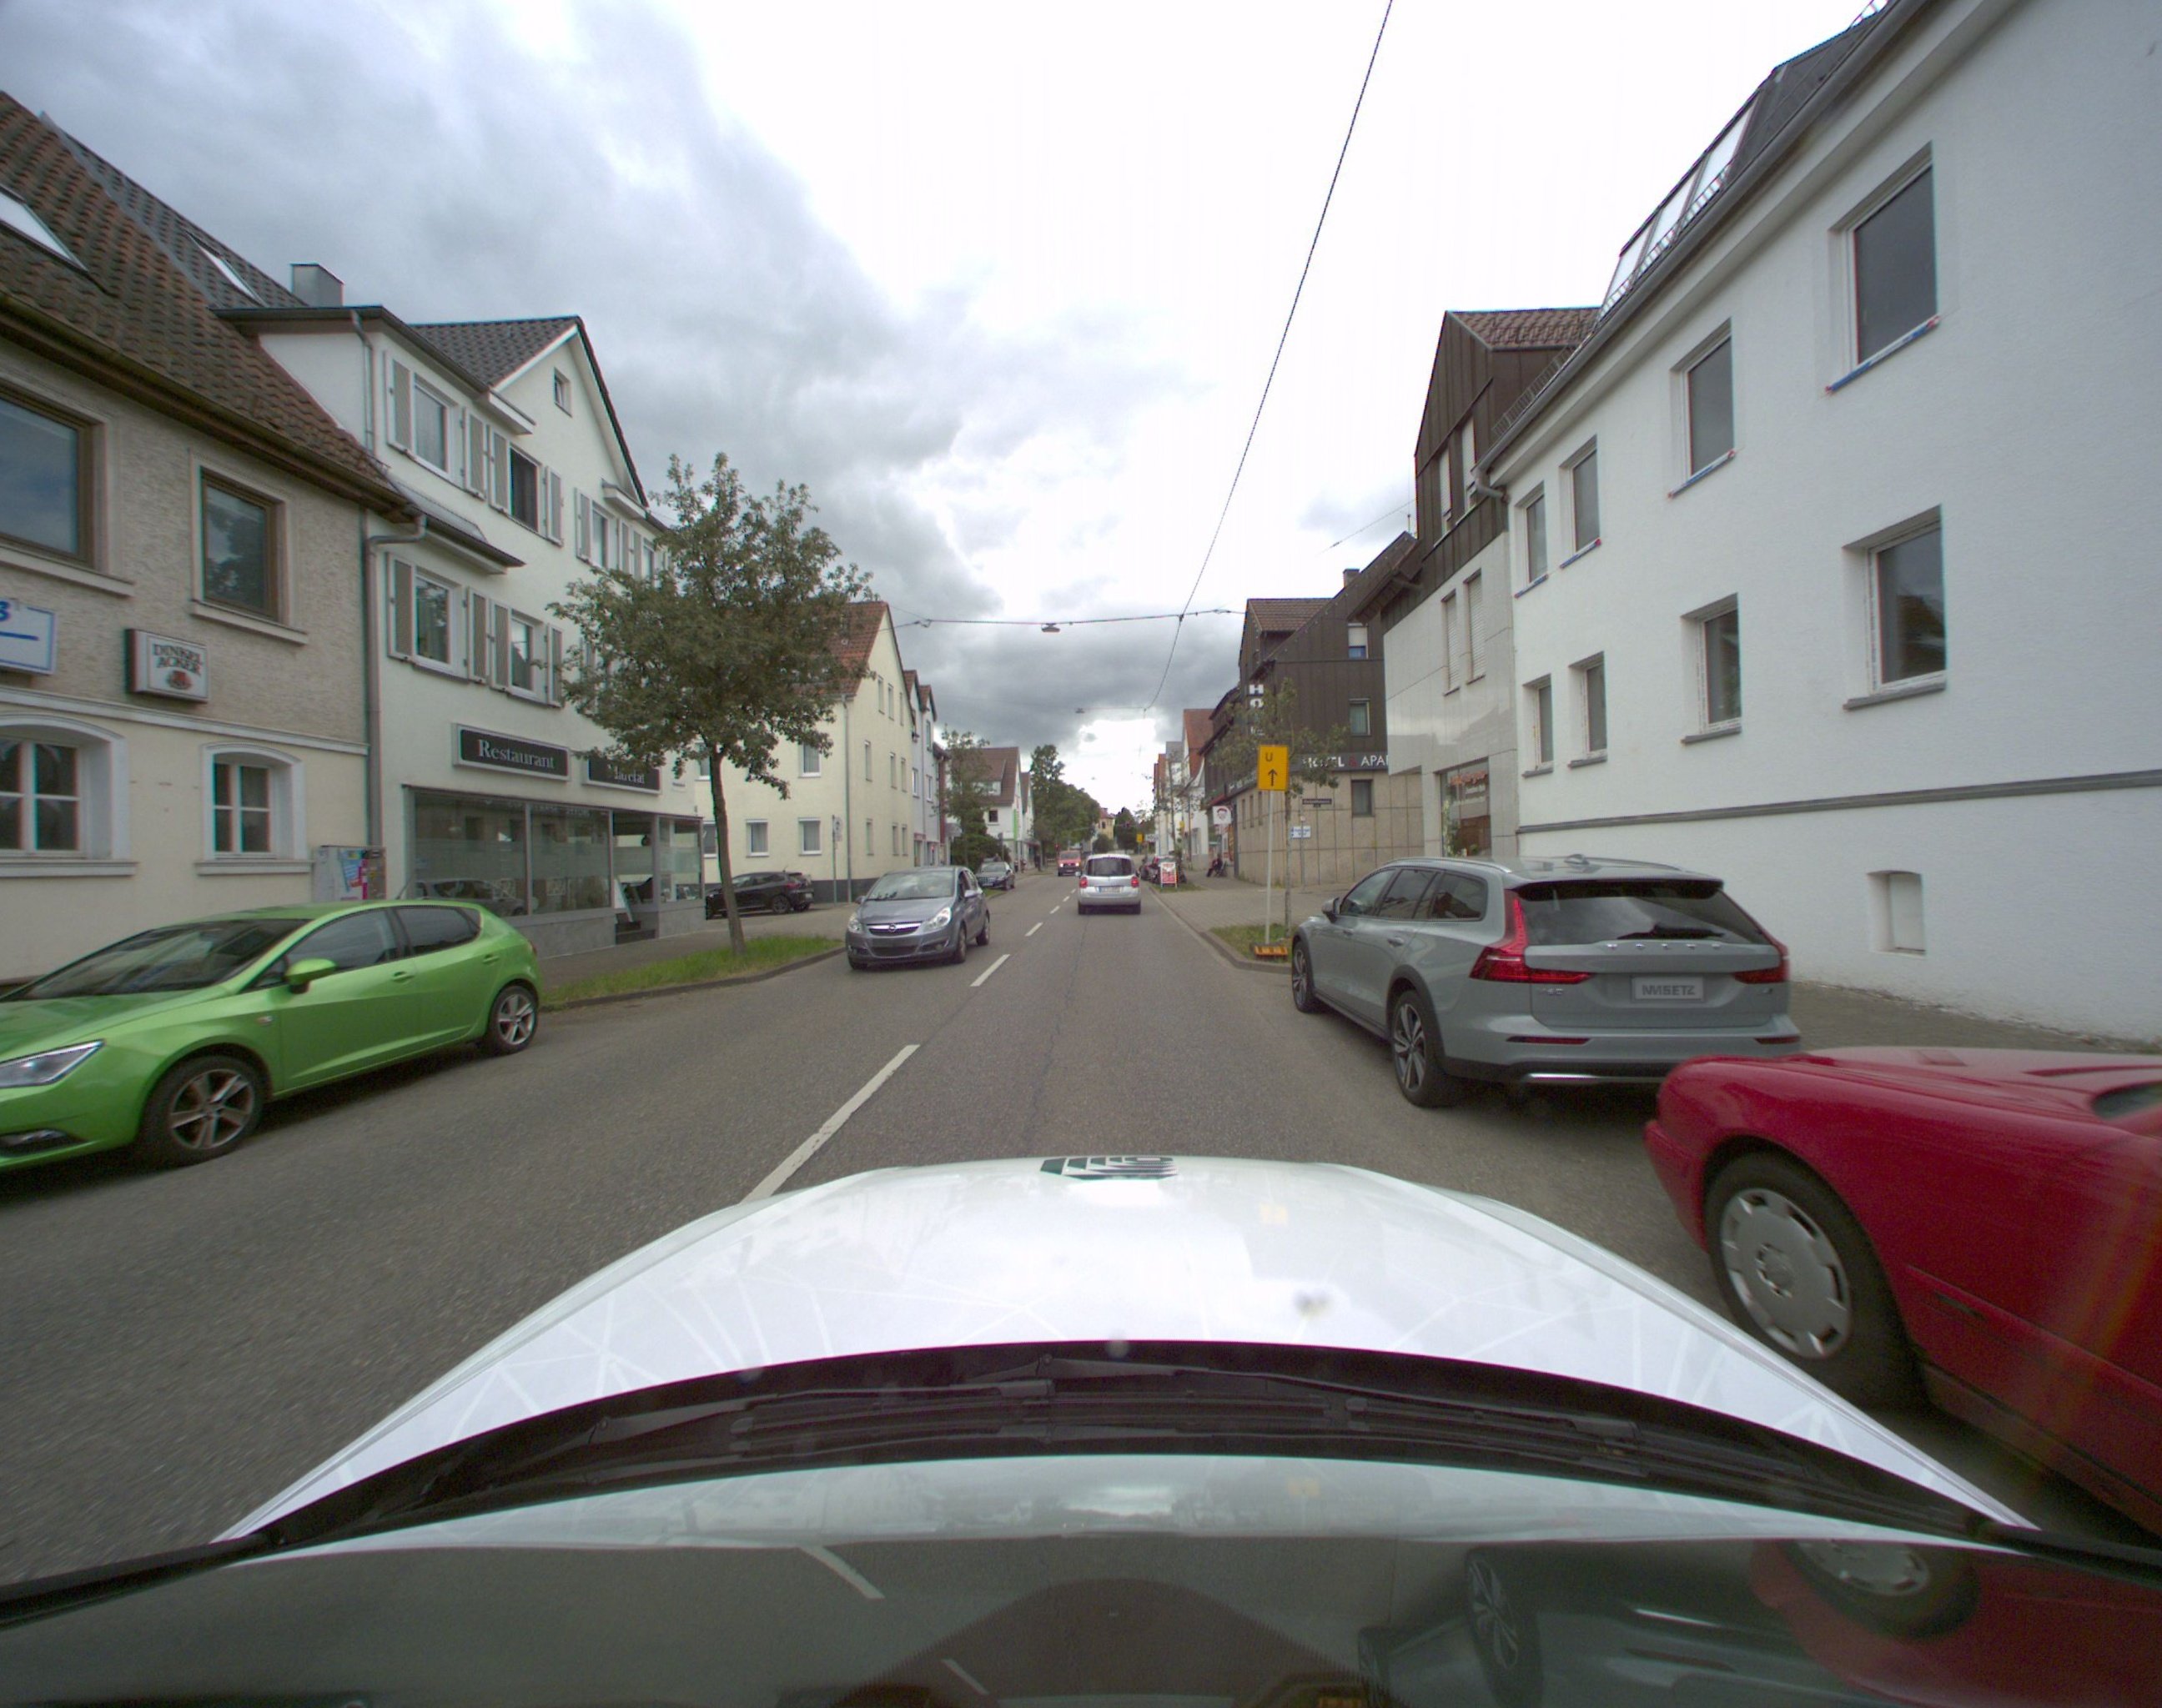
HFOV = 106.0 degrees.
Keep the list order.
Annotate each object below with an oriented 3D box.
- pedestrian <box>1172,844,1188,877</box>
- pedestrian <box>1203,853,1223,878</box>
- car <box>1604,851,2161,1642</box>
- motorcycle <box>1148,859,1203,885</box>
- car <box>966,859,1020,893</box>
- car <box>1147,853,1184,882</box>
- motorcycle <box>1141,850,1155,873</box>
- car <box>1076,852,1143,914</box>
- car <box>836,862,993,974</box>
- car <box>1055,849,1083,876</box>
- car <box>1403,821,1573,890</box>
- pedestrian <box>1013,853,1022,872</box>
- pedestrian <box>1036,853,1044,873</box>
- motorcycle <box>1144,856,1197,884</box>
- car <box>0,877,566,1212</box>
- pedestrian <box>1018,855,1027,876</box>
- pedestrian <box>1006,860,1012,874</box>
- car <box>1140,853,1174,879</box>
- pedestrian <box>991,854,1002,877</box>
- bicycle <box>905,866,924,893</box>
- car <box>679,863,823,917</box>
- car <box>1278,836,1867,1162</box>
[{"bbox_3d":[5.887,0.376,48.635,0.853,1.928,0.900,-1,-1,2],"label":"pedestrian"},{"bbox_3d":[7.362,0.628,45.307,0.884,1.300,0.967,-5,-1,2],"label":"pedestrian"},{"bbox_3d":[2.850,0.713,0.852,1.749,1.446,4.454,0,0,0],"label":"car"},{"bbox_3d":[4.586,0.842,39.430,2.744,1.183,0.693,-1,-1,-29],"label":"motorcycle"},{"bbox_3d":[-4.372,1.076,41.059,1.940,1.467,4.519,-4,0,2],"label":"car"},{"bbox_3d":[4.493,0.692,43.631,1.694,1.430,3.892,-1,0,2],"label":"car"},{"bbox_3d":[5.028,0.538,60.803,0.693,1.639,2.417,-1,0,12],"label":"motorcycle"},{"bbox_3d":[0.822,0.756,22.692,1.675,1.566,3.996,0,0,3],"label":"car"},{"bbox_3d":[-2.521,0.906,13.271,1.677,1.447,4.019,-3,0,0],"label":"car"},{"bbox_3d":[-0.901,0.652,63.158,1.945,2.014,4.002,-1,0,2],"label":"car"},{"bbox_3d":[13.078,0.047,26.367,4.467,1.866,1.930,-3,0,-1],"label":"car"},{"bbox_3d":[-5.817,0.787,74.719,0.713,1.756,0.696,-1,-1,1],"label":"pedestrian"},{"bbox_3d":[-3.994,0.875,78.773,0.713,1.876,0.696,-1,-1,1],"label":"pedestrian"},{"bbox_3d":[4.448,0.773,40.481,2.723,1.336,0.693,-1,-1,-29],"label":"motorcycle"},{"bbox_3d":[-5.784,0.981,5.750,1.677,1.447,4.019,-3,0,0],"label":"car"},{"bbox_3d":[-5.327,1.031,73.990,0.759,1.876,0.696,-1,-1,1],"label":"pedestrian"},{"bbox_3d":[-6.552,1.152,74.268,0.490,1.278,0.588,-1,-1,2],"label":"pedestrian"},{"bbox_3d":[4.474,0.708,48.447,1.694,1.467,4.240,-1,0,2],"label":"car"},{"bbox_3d":[-6.553,0.877,63.294,0.760,1.791,0.890,-1,-1,2],"label":"pedestrian"},{"bbox_3d":[-7.542,1.136,36.958,0.513,1.153,1.666,-1,0,-1],"label":"bicycle"},{"bbox_3d":[-10.816,1.163,26.905,3.975,1.534,1.734,-2,0,-1],"label":"car"},{"bbox_3d":[2.880,0.705,6.145,1.868,1.539,4.515,-1,0,2],"label":"car"}]
